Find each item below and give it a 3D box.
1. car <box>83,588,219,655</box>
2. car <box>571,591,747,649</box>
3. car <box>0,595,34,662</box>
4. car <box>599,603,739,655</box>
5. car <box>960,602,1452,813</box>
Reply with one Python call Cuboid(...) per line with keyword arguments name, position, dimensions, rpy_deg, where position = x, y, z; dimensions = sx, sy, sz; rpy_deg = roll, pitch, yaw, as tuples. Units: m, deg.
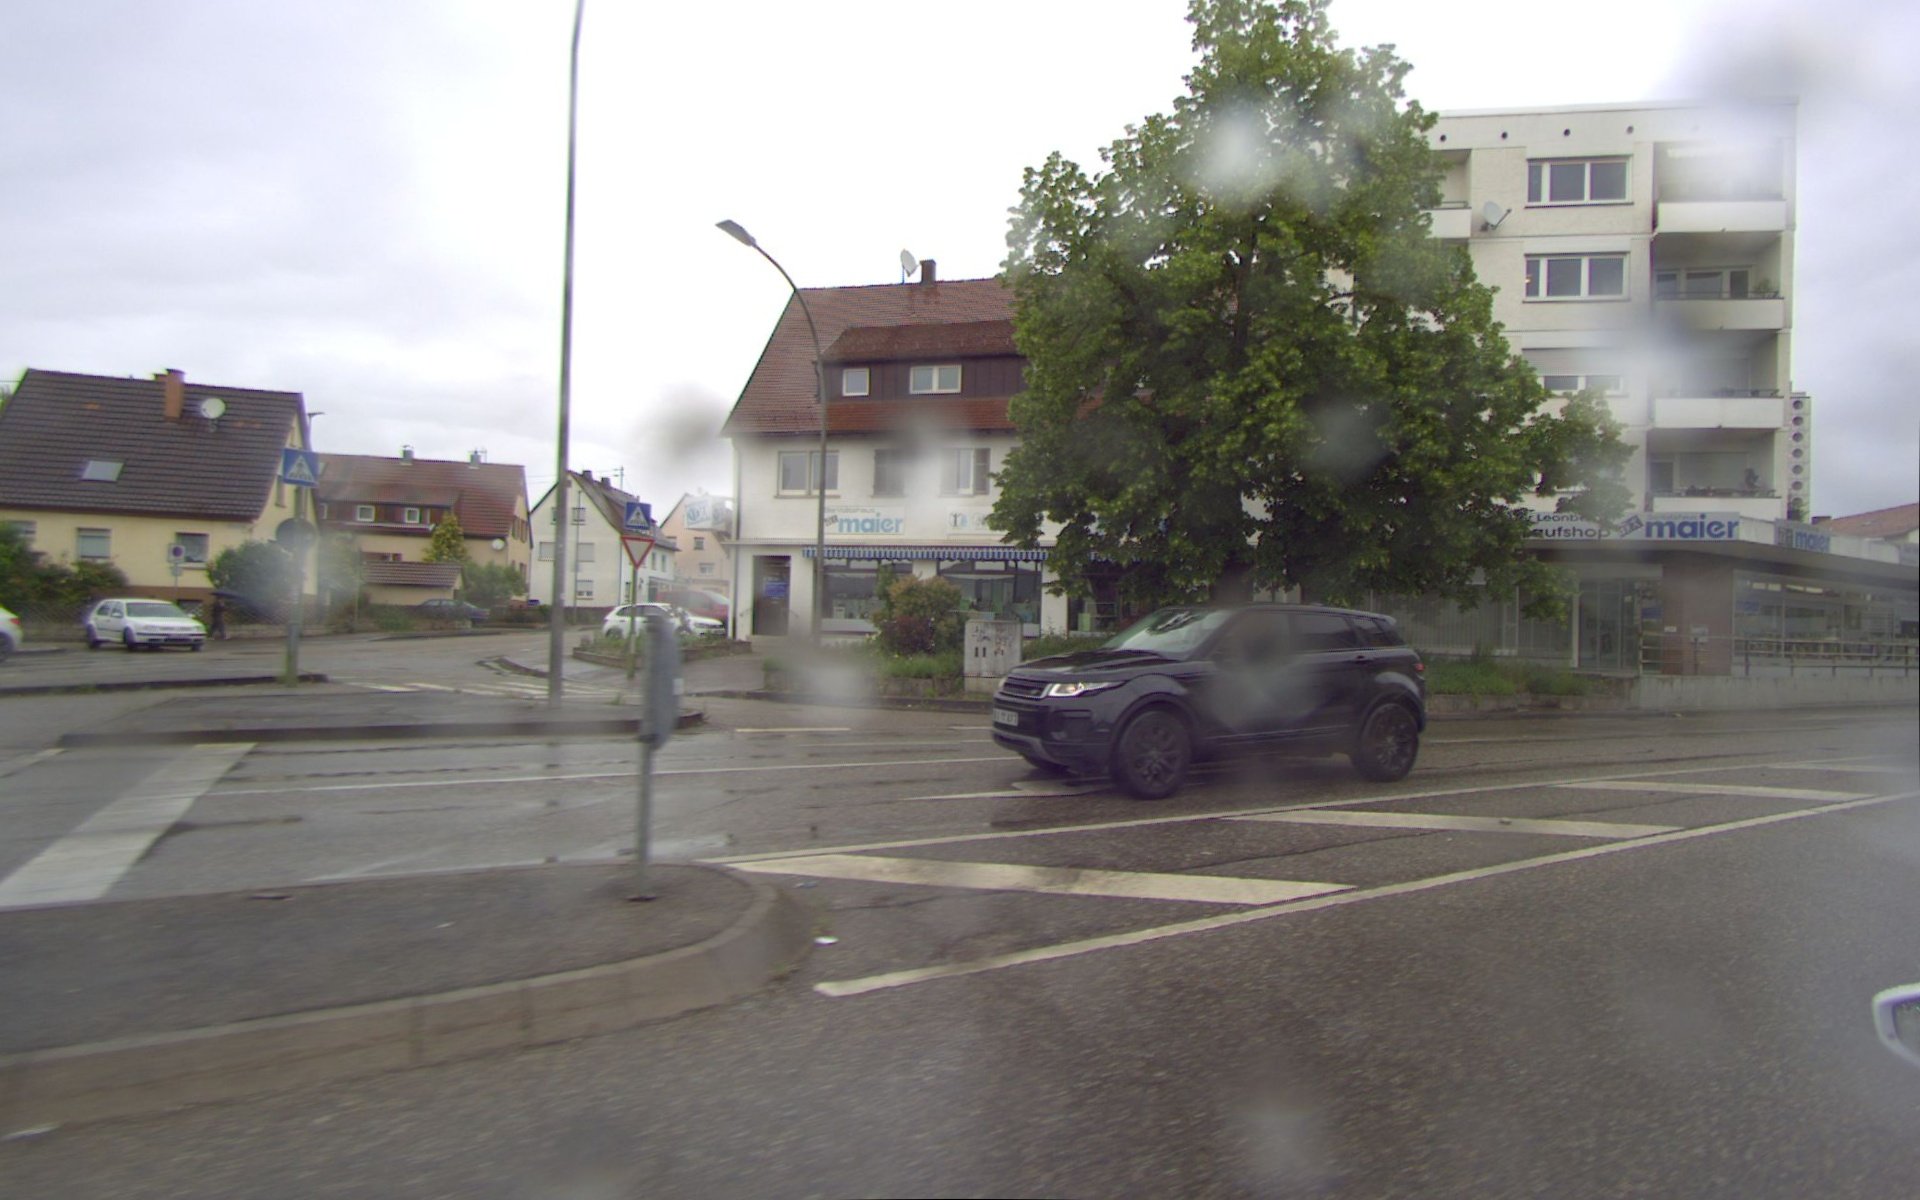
Cuboid(name="car", position=(-23.223, 0.577, 28.813), dimensions=(3.850, 1.756, 1.831), rpy_deg=(1, 0, 32))
Cuboid(name="car", position=(-10.699, 0.687, 35.812), dimensions=(5.733, 1.867, 2.001), rpy_deg=(1, 0, 11))
Cuboid(name="car", position=(-21.766, 0.584, 20.349), dimensions=(1.798, 1.453, 4.290), rpy_deg=(1, 0, 5))
Cuboid(name="car", position=(-9.451, 0.921, 32.684), dimensions=(3.920, 1.546, 2.000), rpy_deg=(1, 0, 18))
Cuboid(name="car", position=(2.304, 0.855, 9.304), dimensions=(4.260, 1.577, 1.797), rpy_deg=(1, 0, -26))
